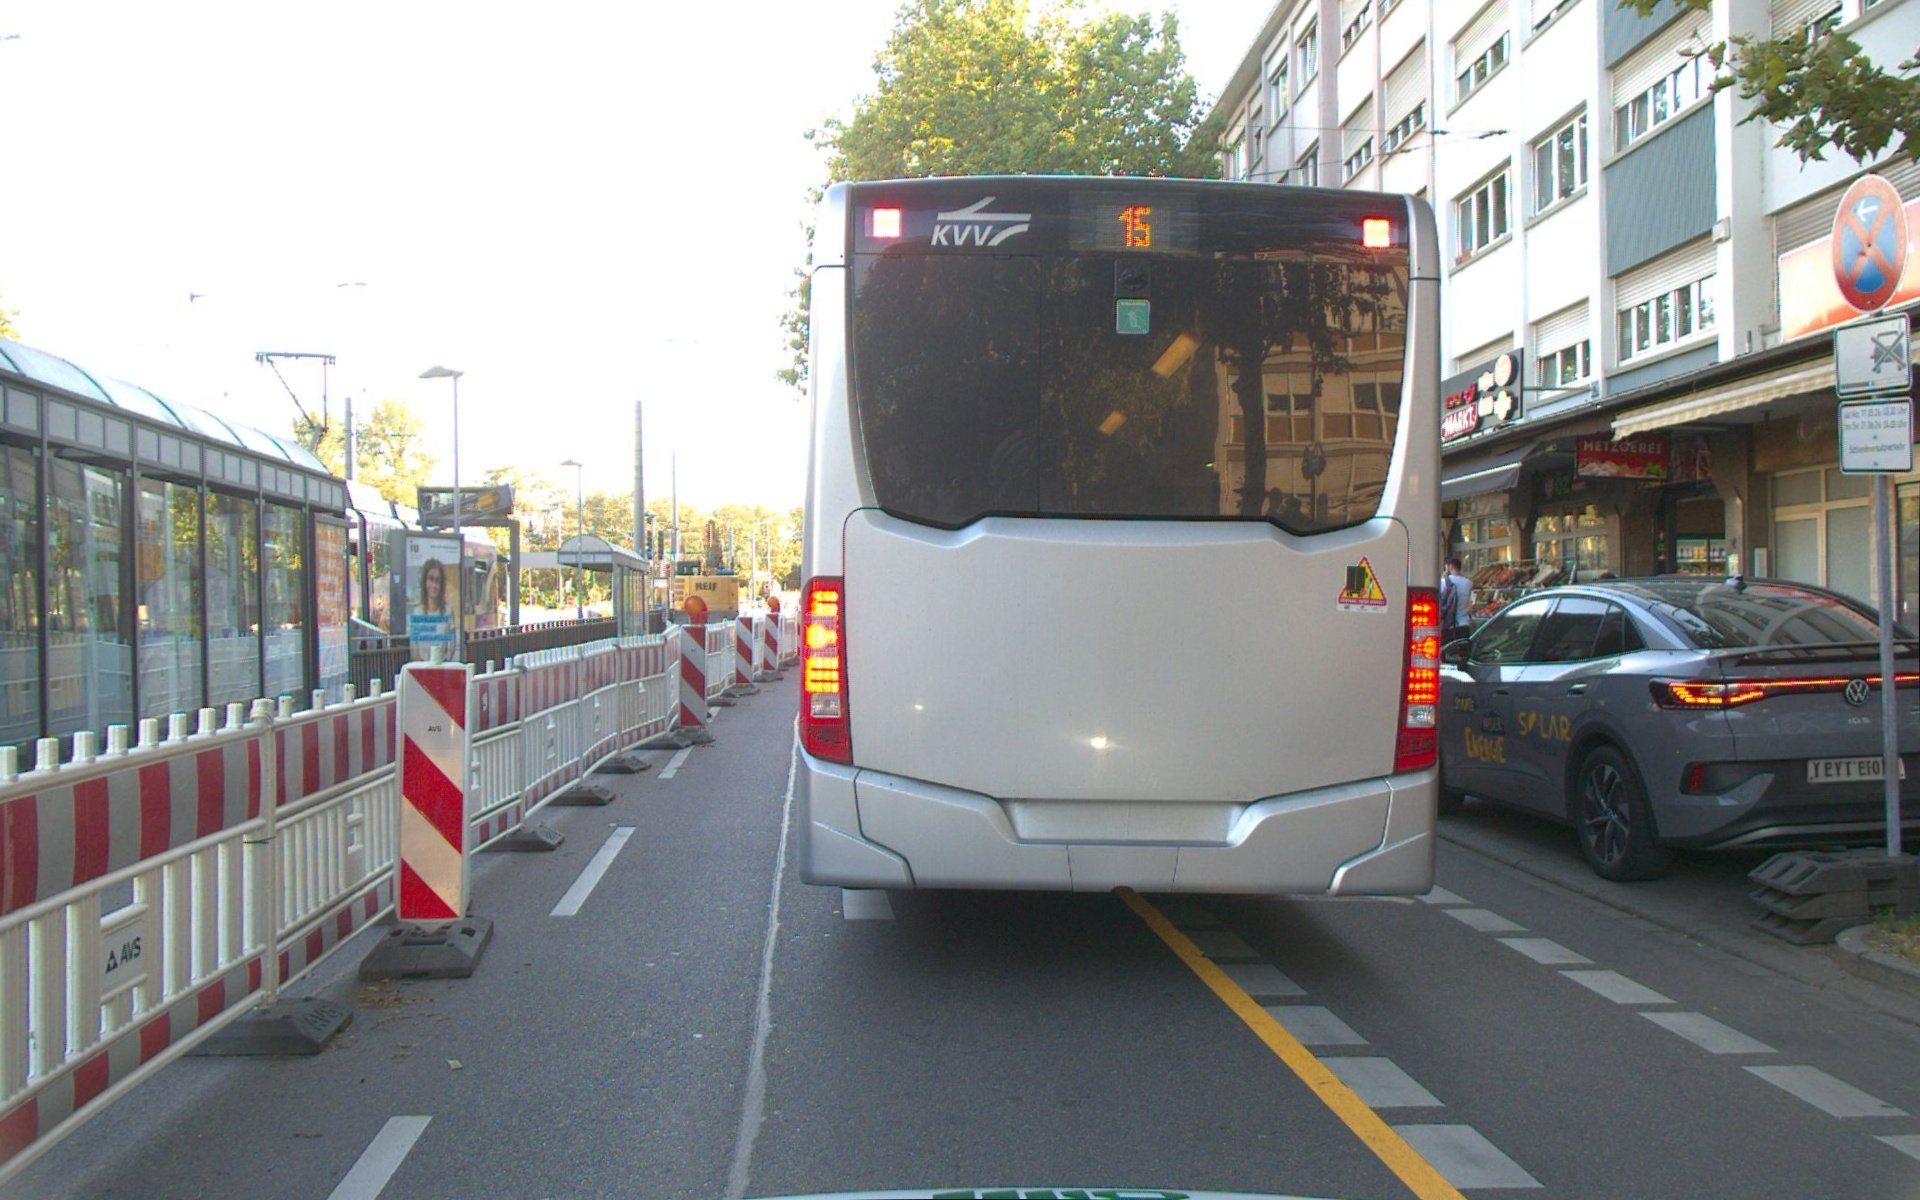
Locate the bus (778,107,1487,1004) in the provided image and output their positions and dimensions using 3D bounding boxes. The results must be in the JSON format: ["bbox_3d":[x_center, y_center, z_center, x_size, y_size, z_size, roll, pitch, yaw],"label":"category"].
[{"bbox_3d":[0.589,-0.171,11.110,2.555,3.225,10.290,0,0,0],"label":"bus"}]

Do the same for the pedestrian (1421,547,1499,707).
[{"bbox_3d":[6.603,0.354,21.869,0.753,2.049,0.714,-2,0,1],"label":"pedestrian"}]

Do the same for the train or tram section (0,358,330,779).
[{"bbox_3d":[-9.941,-0.245,18.893,2.817,3.548,10.320,0,0,-8],"label":"train or tram section"}]

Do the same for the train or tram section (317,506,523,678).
[{"bbox_3d":[-12.505,-0.159,39.331,2.763,3.548,10.321,0,0,-7],"label":"train or tram section"}]

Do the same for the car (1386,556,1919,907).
[{"bbox_3d":[4.230,0.620,10.165,1.706,1.625,4.294,-3,0,-5],"label":"car"}]

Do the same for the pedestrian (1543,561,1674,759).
[{"bbox_3d":[5.491,0.486,14.004,0.739,1.608,0.871,-1,-1,45],"label":"pedestrian"}]

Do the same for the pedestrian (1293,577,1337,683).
[{"bbox_3d":[6.965,0.587,32.499,0.677,2.049,0.696,-1,-1,-1],"label":"pedestrian"}]

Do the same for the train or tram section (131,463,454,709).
[{"bbox_3d":[-11.250,-0.189,29.145,2.782,3.548,10.320,0,0,-8],"label":"train or tram section"}]

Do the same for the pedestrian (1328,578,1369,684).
[{"bbox_3d":[7.634,0.599,32.500,0.600,2.049,0.696,-1,-1,-1],"label":"pedestrian"}]

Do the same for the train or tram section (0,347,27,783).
[{"bbox_3d":[-8.585,-0.296,8.678,2.782,3.548,10.320,0,0,-8],"label":"train or tram section"}]

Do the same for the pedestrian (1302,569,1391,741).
[{"bbox_3d":[4.048,0.567,17.344,0.738,1.756,0.660,-1,0,-3],"label":"pedestrian"}]

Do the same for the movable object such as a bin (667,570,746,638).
[{"bbox_3d":[-9.658,0.162,63.378,2.752,2.505,3.995,0,0,-6],"label":"movable object such as a bin"}]
